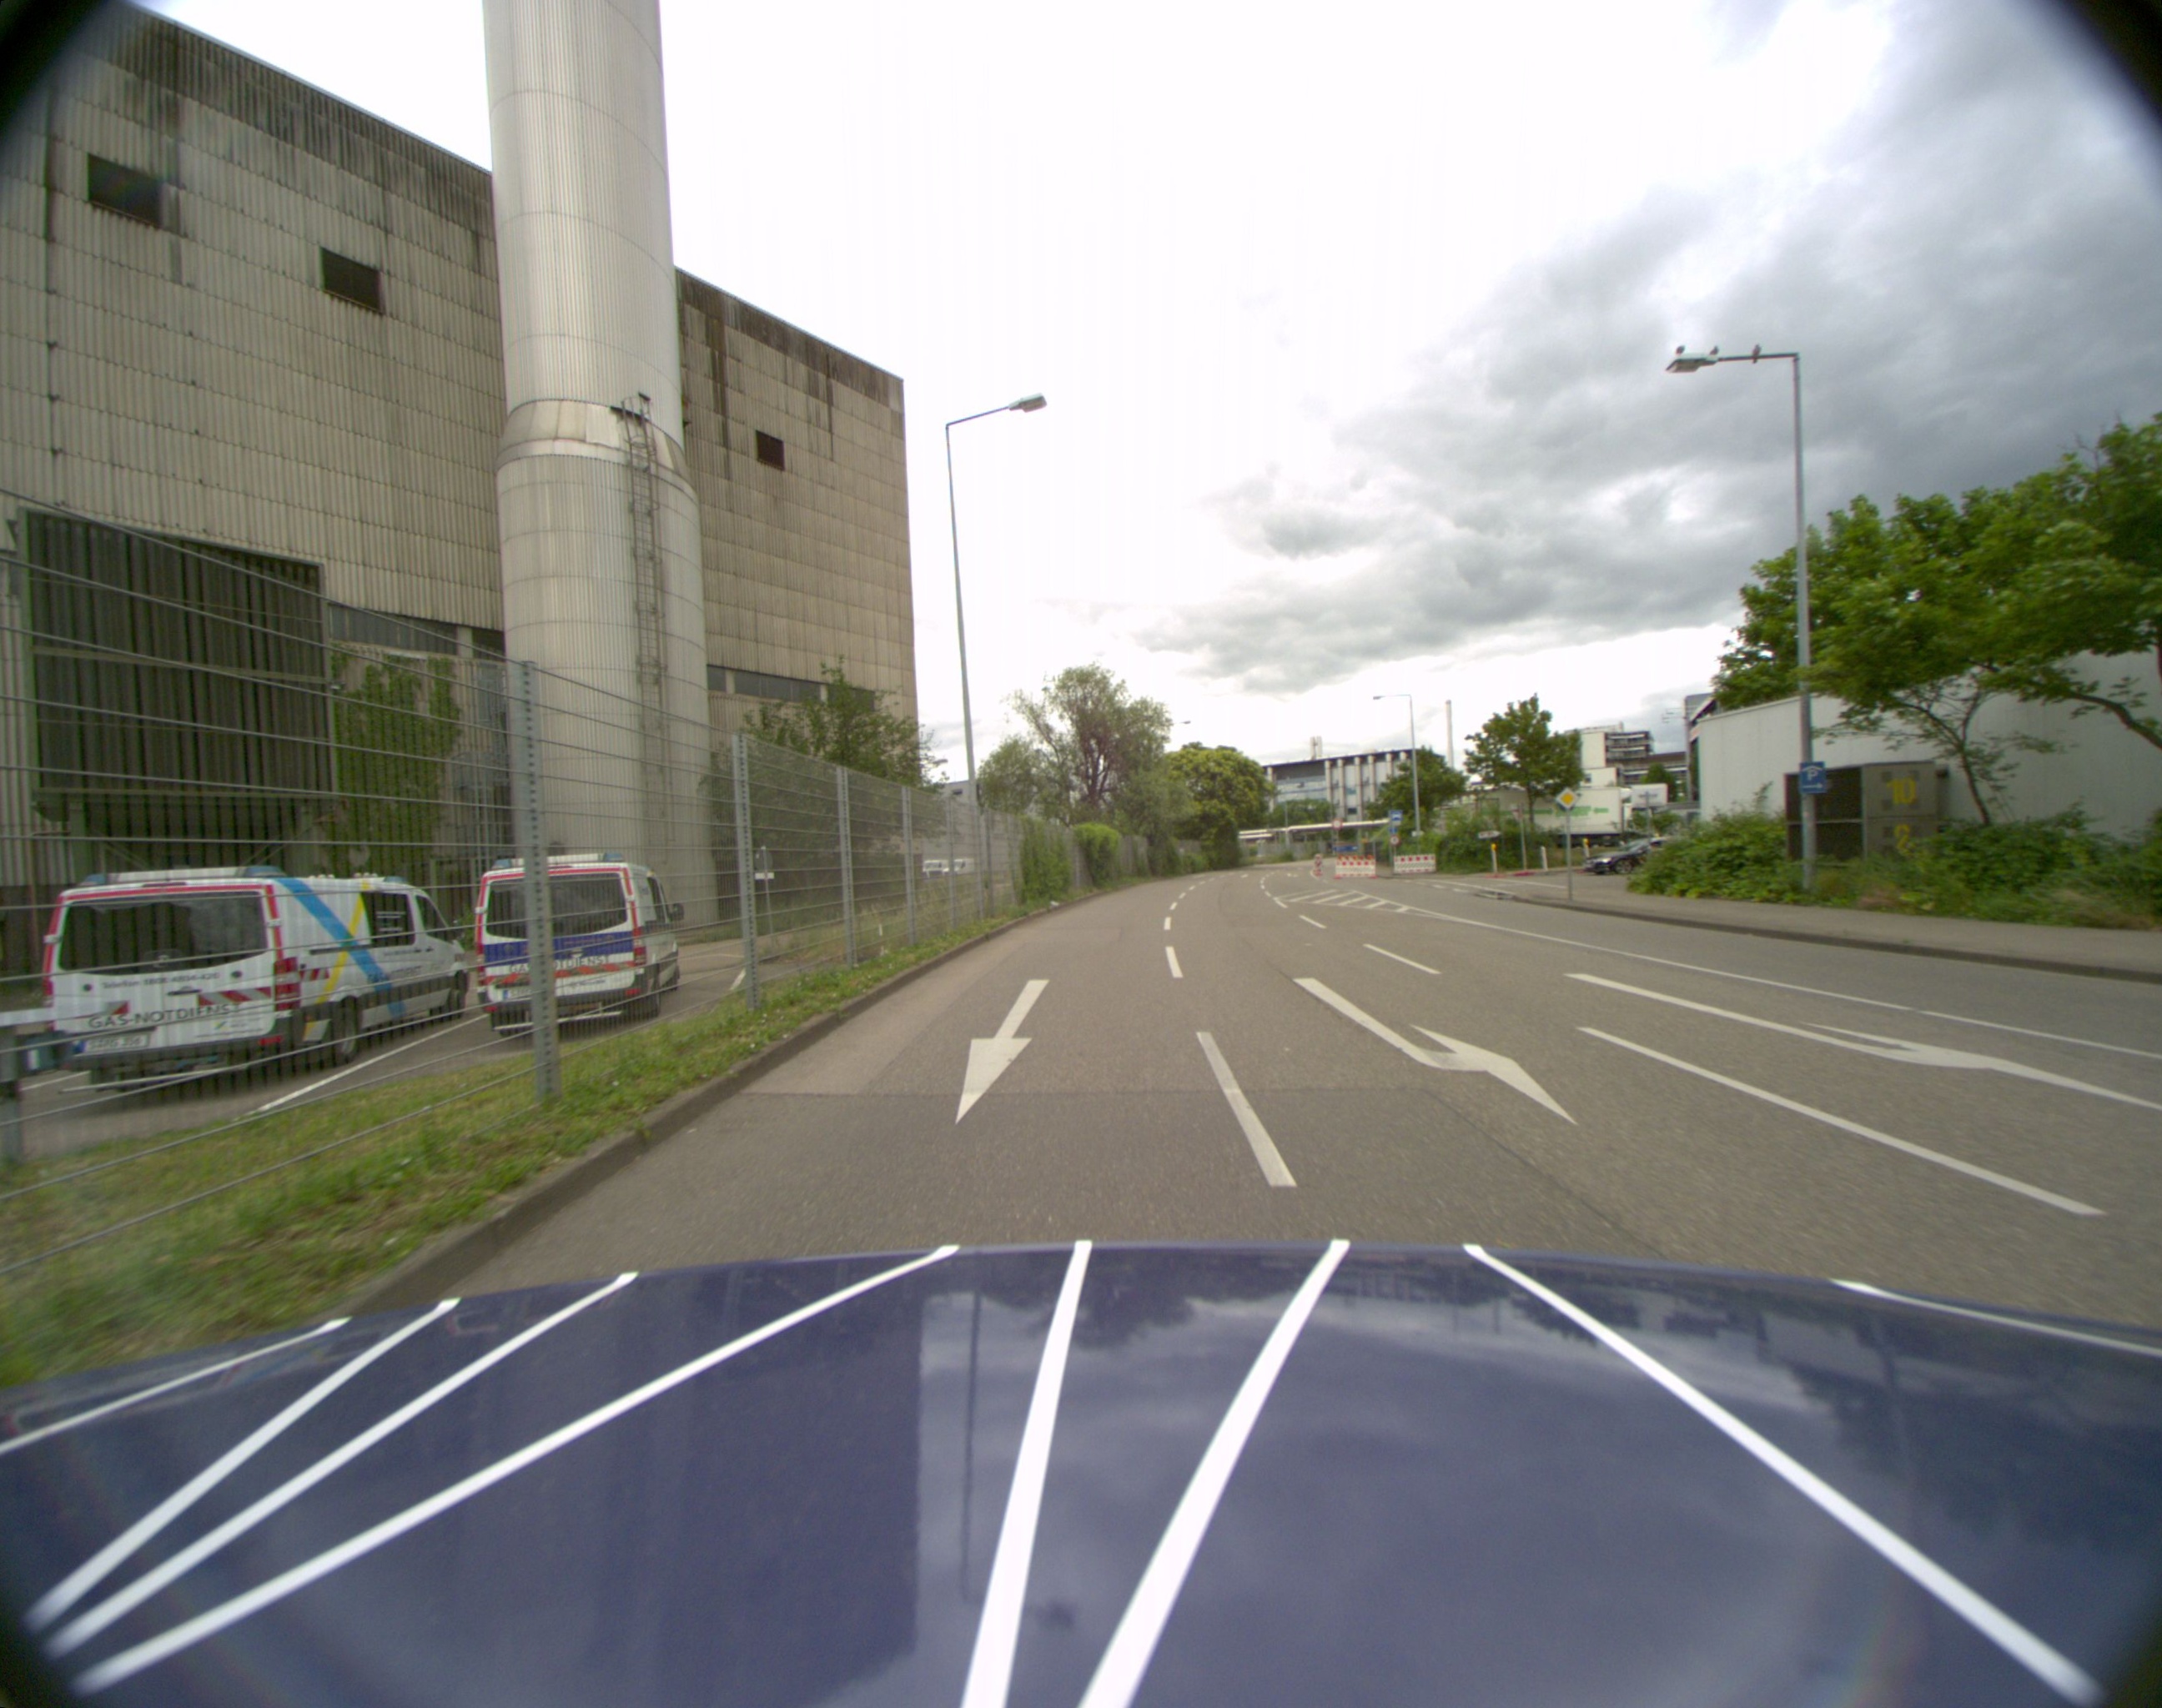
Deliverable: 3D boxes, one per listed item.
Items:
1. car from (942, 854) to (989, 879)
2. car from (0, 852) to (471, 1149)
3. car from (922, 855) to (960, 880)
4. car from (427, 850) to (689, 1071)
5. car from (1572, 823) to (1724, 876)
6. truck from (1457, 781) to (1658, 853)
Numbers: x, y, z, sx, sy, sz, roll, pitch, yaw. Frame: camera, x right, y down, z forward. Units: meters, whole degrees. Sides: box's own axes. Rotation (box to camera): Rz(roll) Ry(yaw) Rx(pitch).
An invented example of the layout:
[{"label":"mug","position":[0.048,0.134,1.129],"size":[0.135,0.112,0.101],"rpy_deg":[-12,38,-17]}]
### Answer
[{"label":"car","position":[-12.271,1.305,81.099],"size":[1.995,2.353,5.847],"rpy_deg":[-4,0,24]},{"label":"car","position":[-10.748,1.578,10.186],"size":[2.430,2.745,5.447],"rpy_deg":[-4,-2,-22]},{"label":"car","position":[-15.141,1.438,82.644],"size":[1.997,2.353,5.843],"rpy_deg":[-4,0,11]},{"label":"car","position":[-7.765,1.423,11.974],"size":[2.241,2.532,5.184],"rpy_deg":[-4,-2,-23]},{"label":"car","position":[23.356,-0.178,31.464],"size":[4.617,1.799,2.001],"rpy_deg":[-4,0,7]},{"label":"truck","position":[26.991,-2.056,43.466],"size":[9.266,3.575,2.933],"rpy_deg":[-2,1,8]}]
